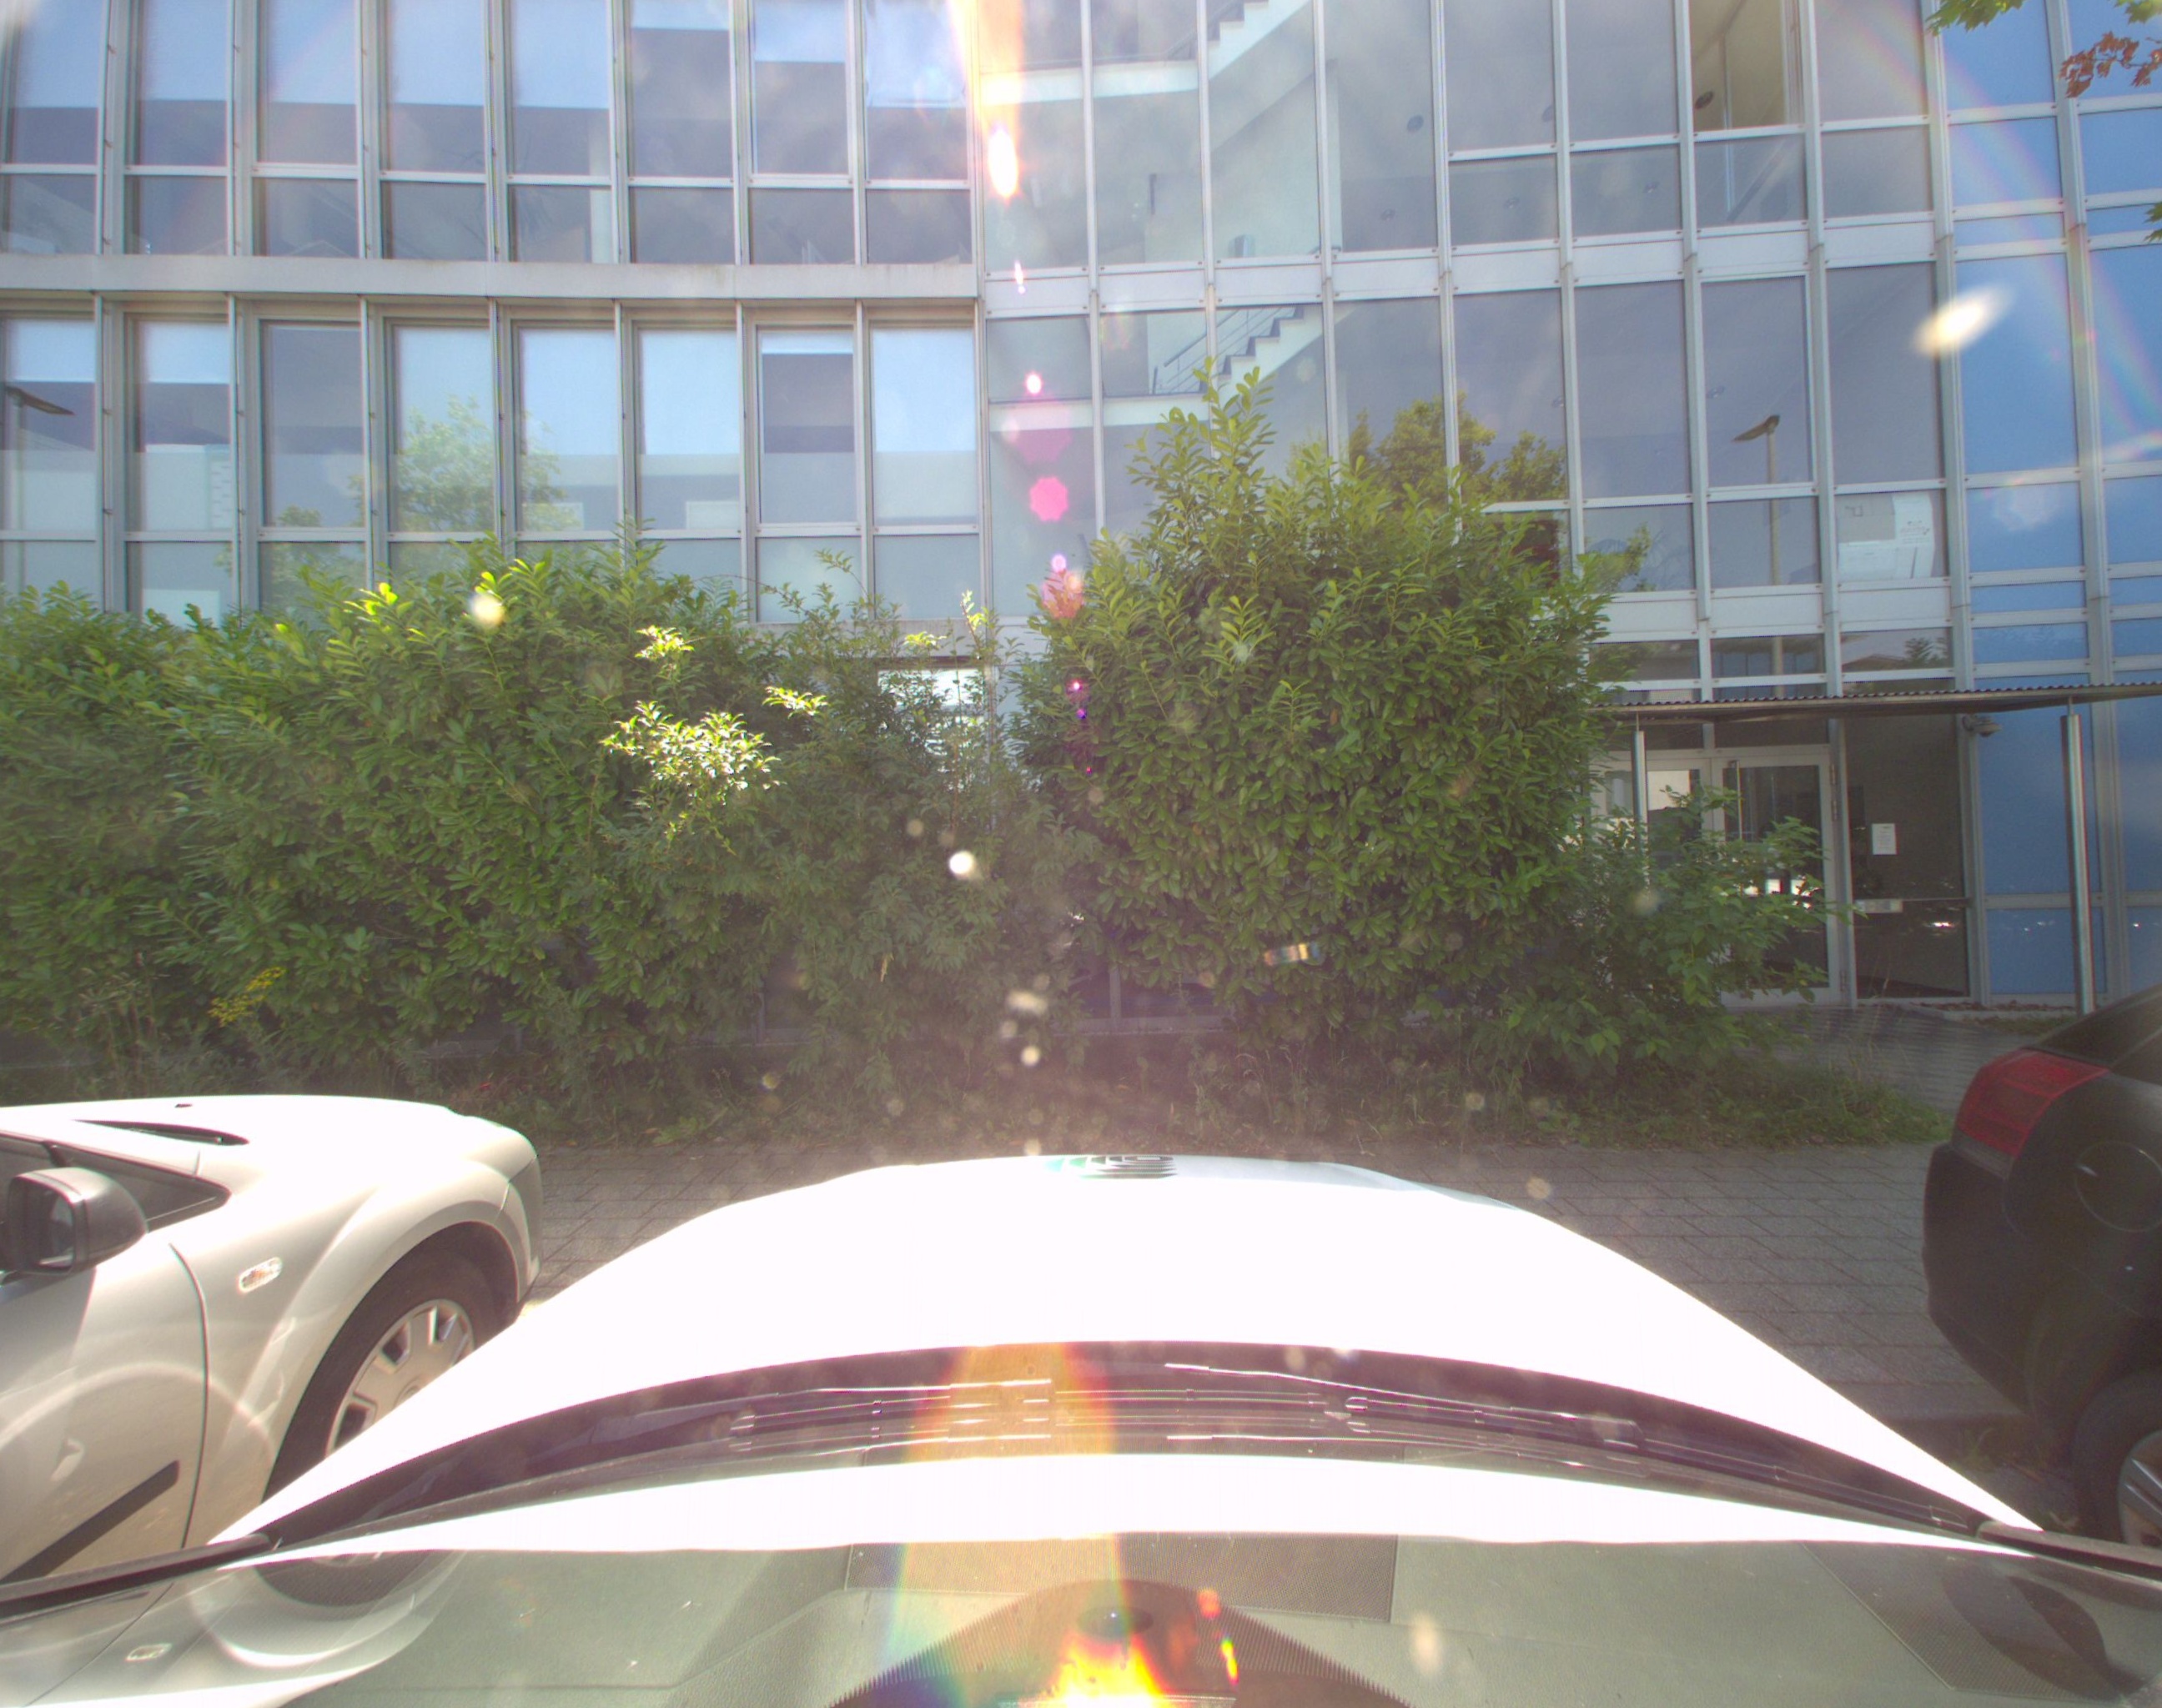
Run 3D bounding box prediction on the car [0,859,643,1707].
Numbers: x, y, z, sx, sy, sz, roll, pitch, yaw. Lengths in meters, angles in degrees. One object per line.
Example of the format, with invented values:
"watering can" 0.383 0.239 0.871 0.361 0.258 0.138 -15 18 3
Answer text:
"car" -2.218 0.759 0.350 1.714 1.479 4.347 0 0 0
